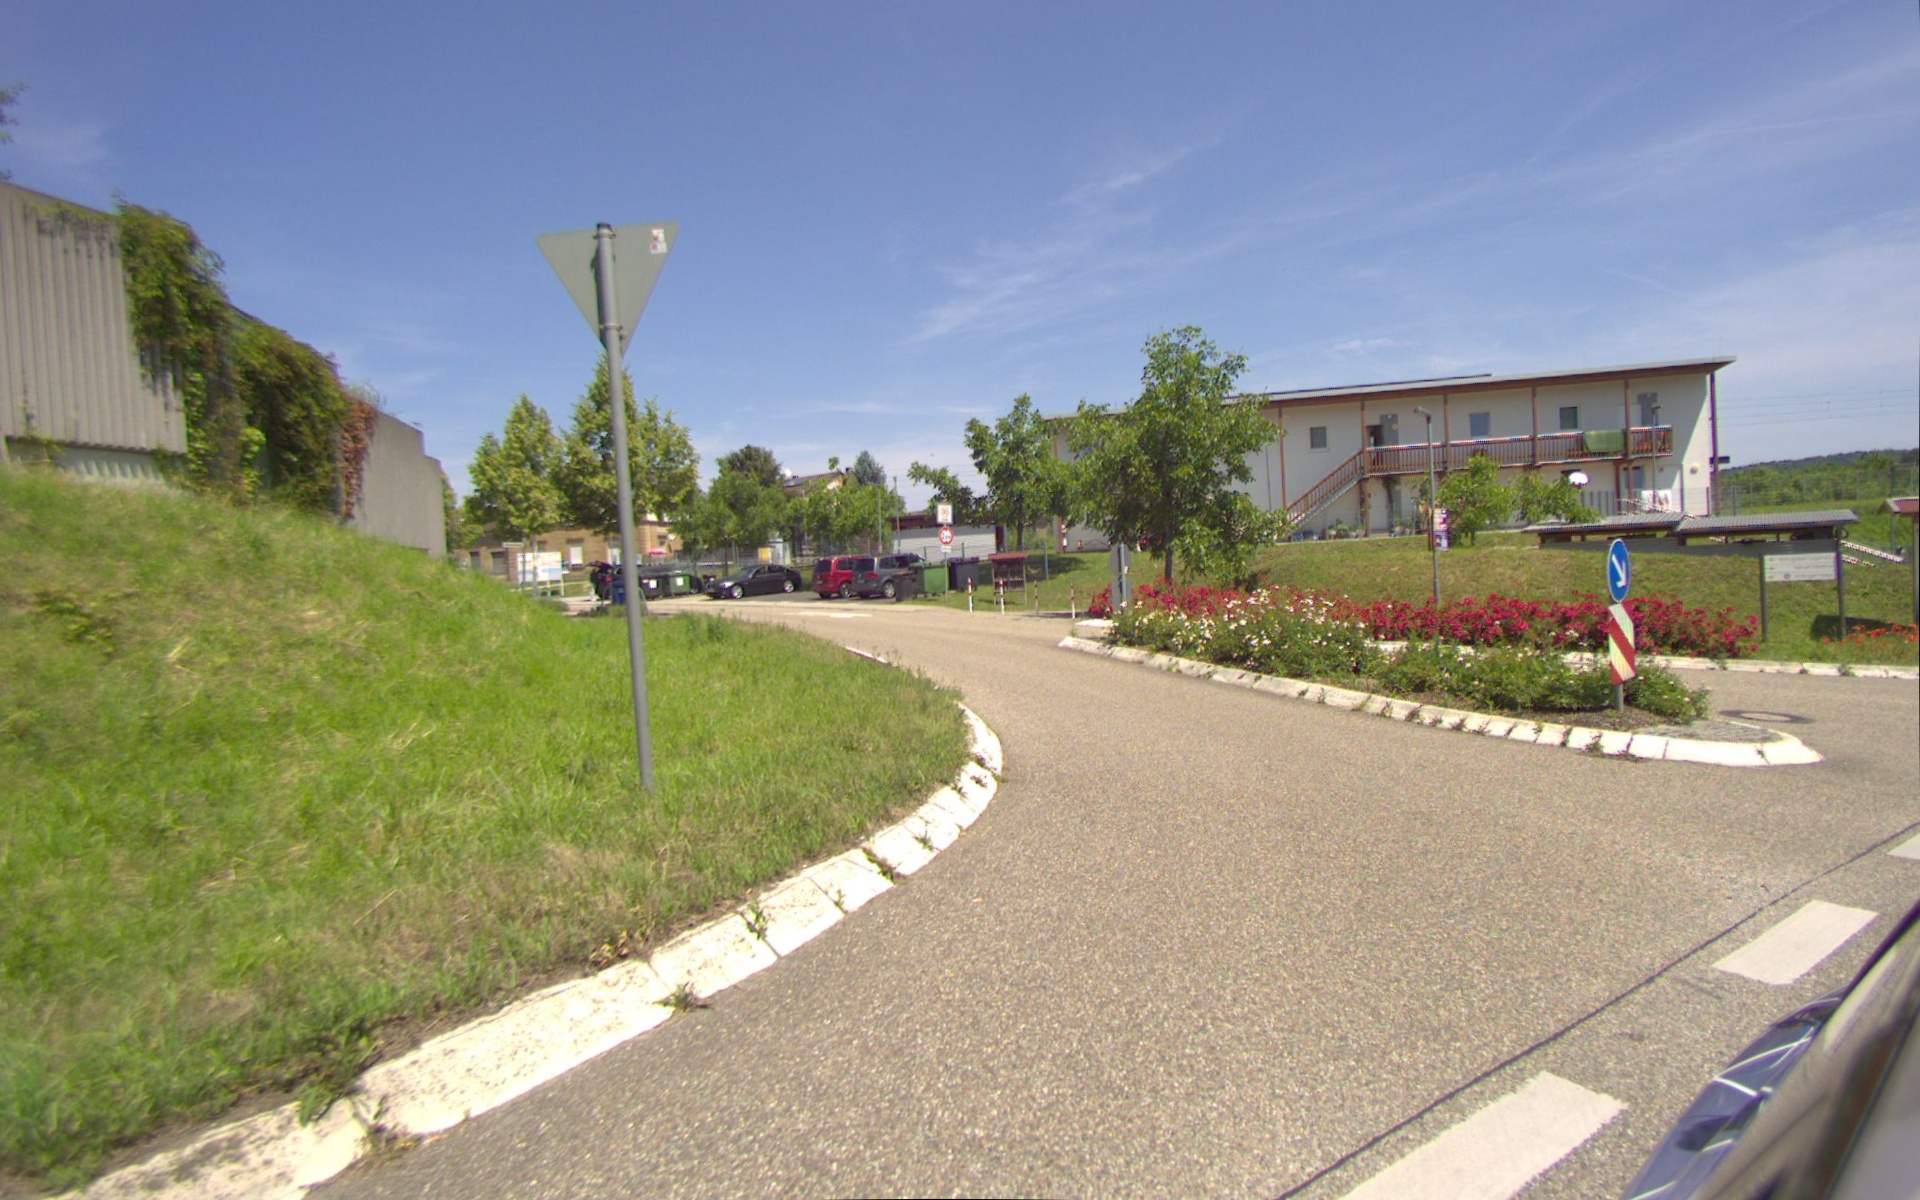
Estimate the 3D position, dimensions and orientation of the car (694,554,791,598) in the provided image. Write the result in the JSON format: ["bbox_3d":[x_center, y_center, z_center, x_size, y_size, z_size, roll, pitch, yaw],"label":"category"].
[{"bbox_3d":[-10.045,-1.111,46.850,3.933,1.772,1.868,-6,3,-41],"label":"car"}]

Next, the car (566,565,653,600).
[{"bbox_3d":[-18.770,-0.971,54.338,1.864,1.598,3.942,-1,3,42],"label":"car"}]

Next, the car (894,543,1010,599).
[{"bbox_3d":[-0.264,-1.087,37.051,3.933,1.772,1.868,-6,3,-41],"label":"car"}]

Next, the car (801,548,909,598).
[{"bbox_3d":[-4.229,-1.109,41.168,3.933,1.772,1.868,-6,3,-41],"label":"car"}]

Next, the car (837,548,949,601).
[{"bbox_3d":[-2.562,-1.012,39.235,3.933,1.772,1.868,-6,3,-41],"label":"car"}]

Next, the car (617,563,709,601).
[{"bbox_3d":[-14.660,-0.915,50.093,1.864,1.598,3.942,-1,3,42],"label":"car"}]
